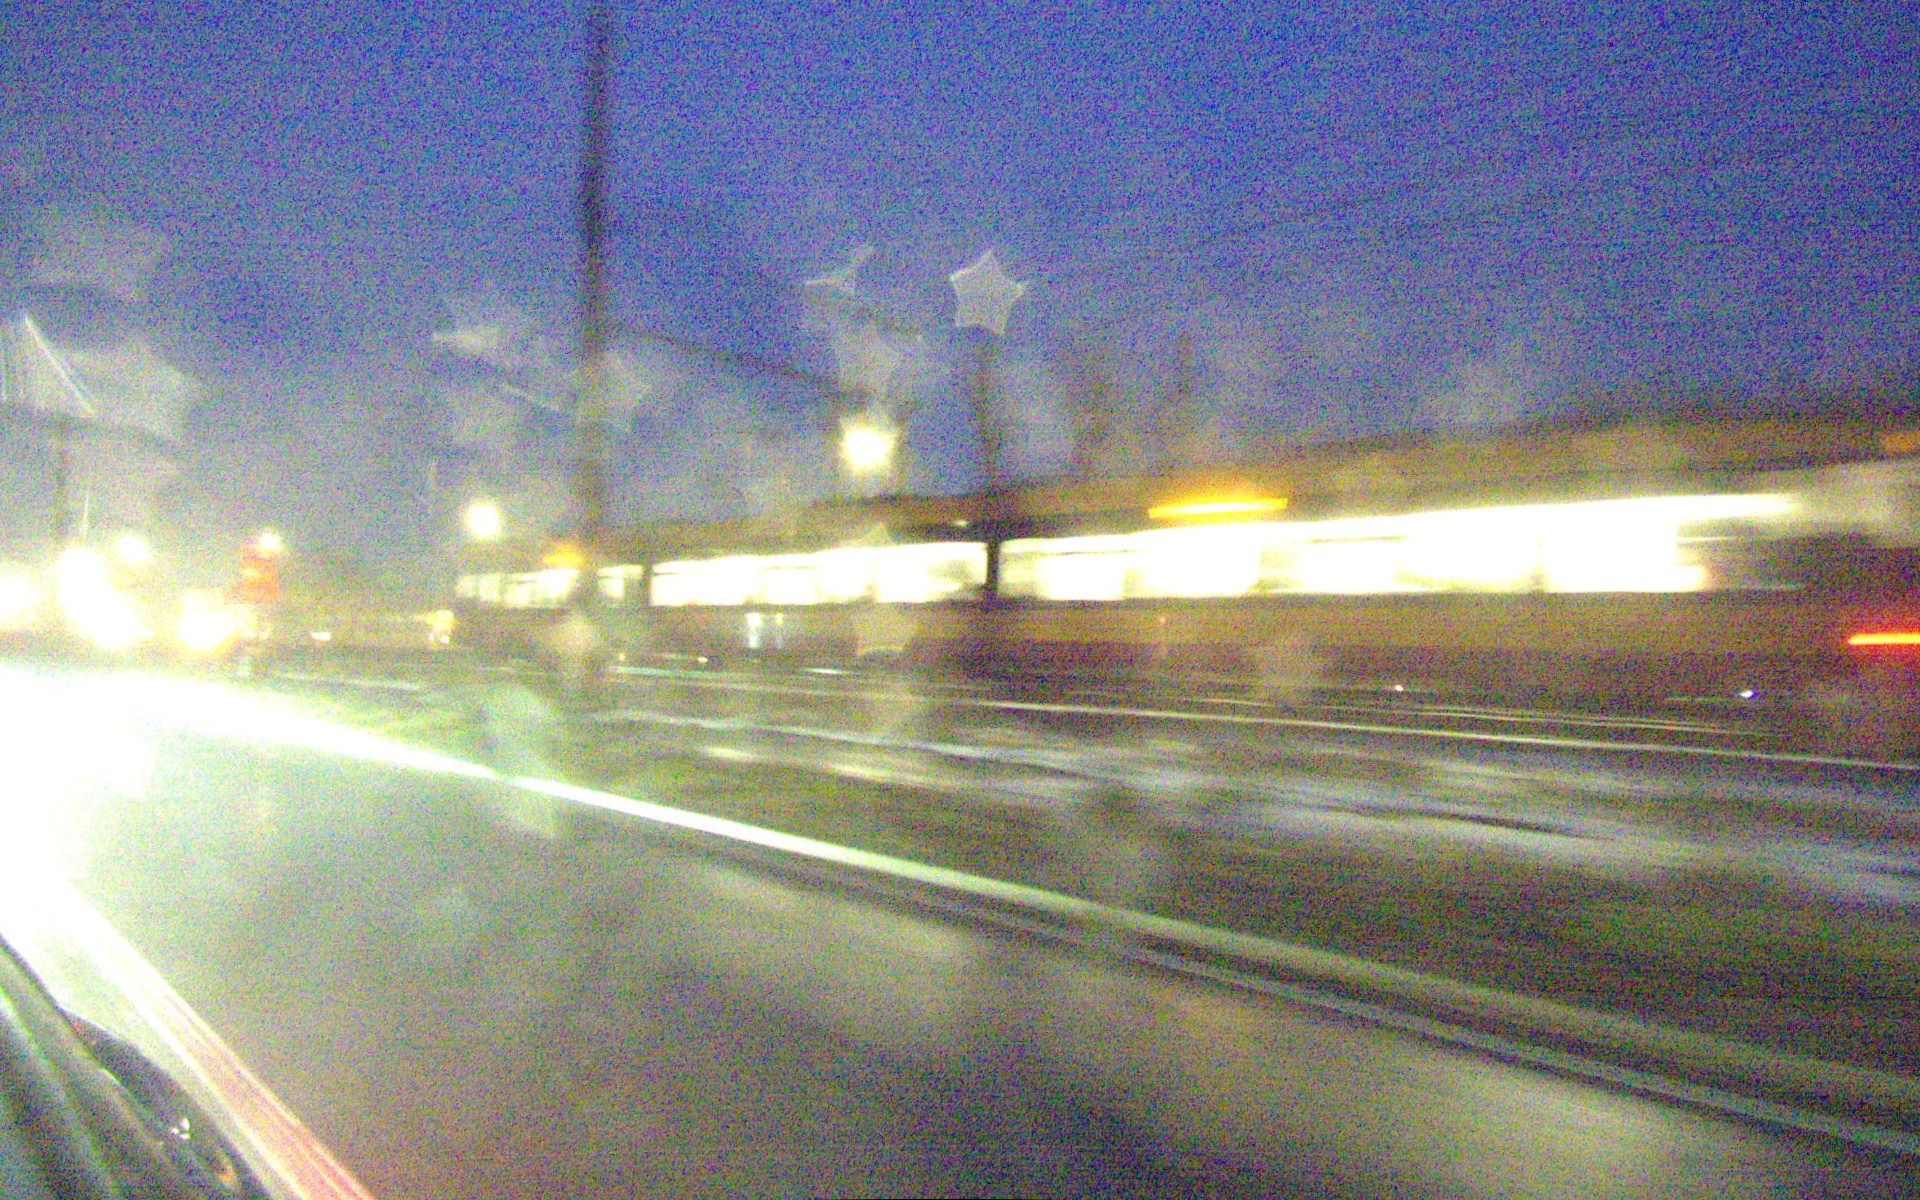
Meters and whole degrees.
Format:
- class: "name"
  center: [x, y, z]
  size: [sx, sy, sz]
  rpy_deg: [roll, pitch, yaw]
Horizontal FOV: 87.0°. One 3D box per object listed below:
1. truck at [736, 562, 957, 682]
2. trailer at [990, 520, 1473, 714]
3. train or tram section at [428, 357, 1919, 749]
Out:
- class: "truck"
  center: [-5.124, 0.865, 43.670]
  size: [10.206, 4.644, 3.404]
  rpy_deg: [-1, 0, 40]
- class: "trailer"
  center: [7.977, 0.472, 32.660]
  size: [14.825, 5.050, 3.930]
  rpy_deg: [-1, 0, 40]
- class: "train or tram section"
  center: [-2.485, -0.351, 21.976]
  size: [37.124, 3.843, 2.668]
  rpy_deg: [-1, 0, 41]
